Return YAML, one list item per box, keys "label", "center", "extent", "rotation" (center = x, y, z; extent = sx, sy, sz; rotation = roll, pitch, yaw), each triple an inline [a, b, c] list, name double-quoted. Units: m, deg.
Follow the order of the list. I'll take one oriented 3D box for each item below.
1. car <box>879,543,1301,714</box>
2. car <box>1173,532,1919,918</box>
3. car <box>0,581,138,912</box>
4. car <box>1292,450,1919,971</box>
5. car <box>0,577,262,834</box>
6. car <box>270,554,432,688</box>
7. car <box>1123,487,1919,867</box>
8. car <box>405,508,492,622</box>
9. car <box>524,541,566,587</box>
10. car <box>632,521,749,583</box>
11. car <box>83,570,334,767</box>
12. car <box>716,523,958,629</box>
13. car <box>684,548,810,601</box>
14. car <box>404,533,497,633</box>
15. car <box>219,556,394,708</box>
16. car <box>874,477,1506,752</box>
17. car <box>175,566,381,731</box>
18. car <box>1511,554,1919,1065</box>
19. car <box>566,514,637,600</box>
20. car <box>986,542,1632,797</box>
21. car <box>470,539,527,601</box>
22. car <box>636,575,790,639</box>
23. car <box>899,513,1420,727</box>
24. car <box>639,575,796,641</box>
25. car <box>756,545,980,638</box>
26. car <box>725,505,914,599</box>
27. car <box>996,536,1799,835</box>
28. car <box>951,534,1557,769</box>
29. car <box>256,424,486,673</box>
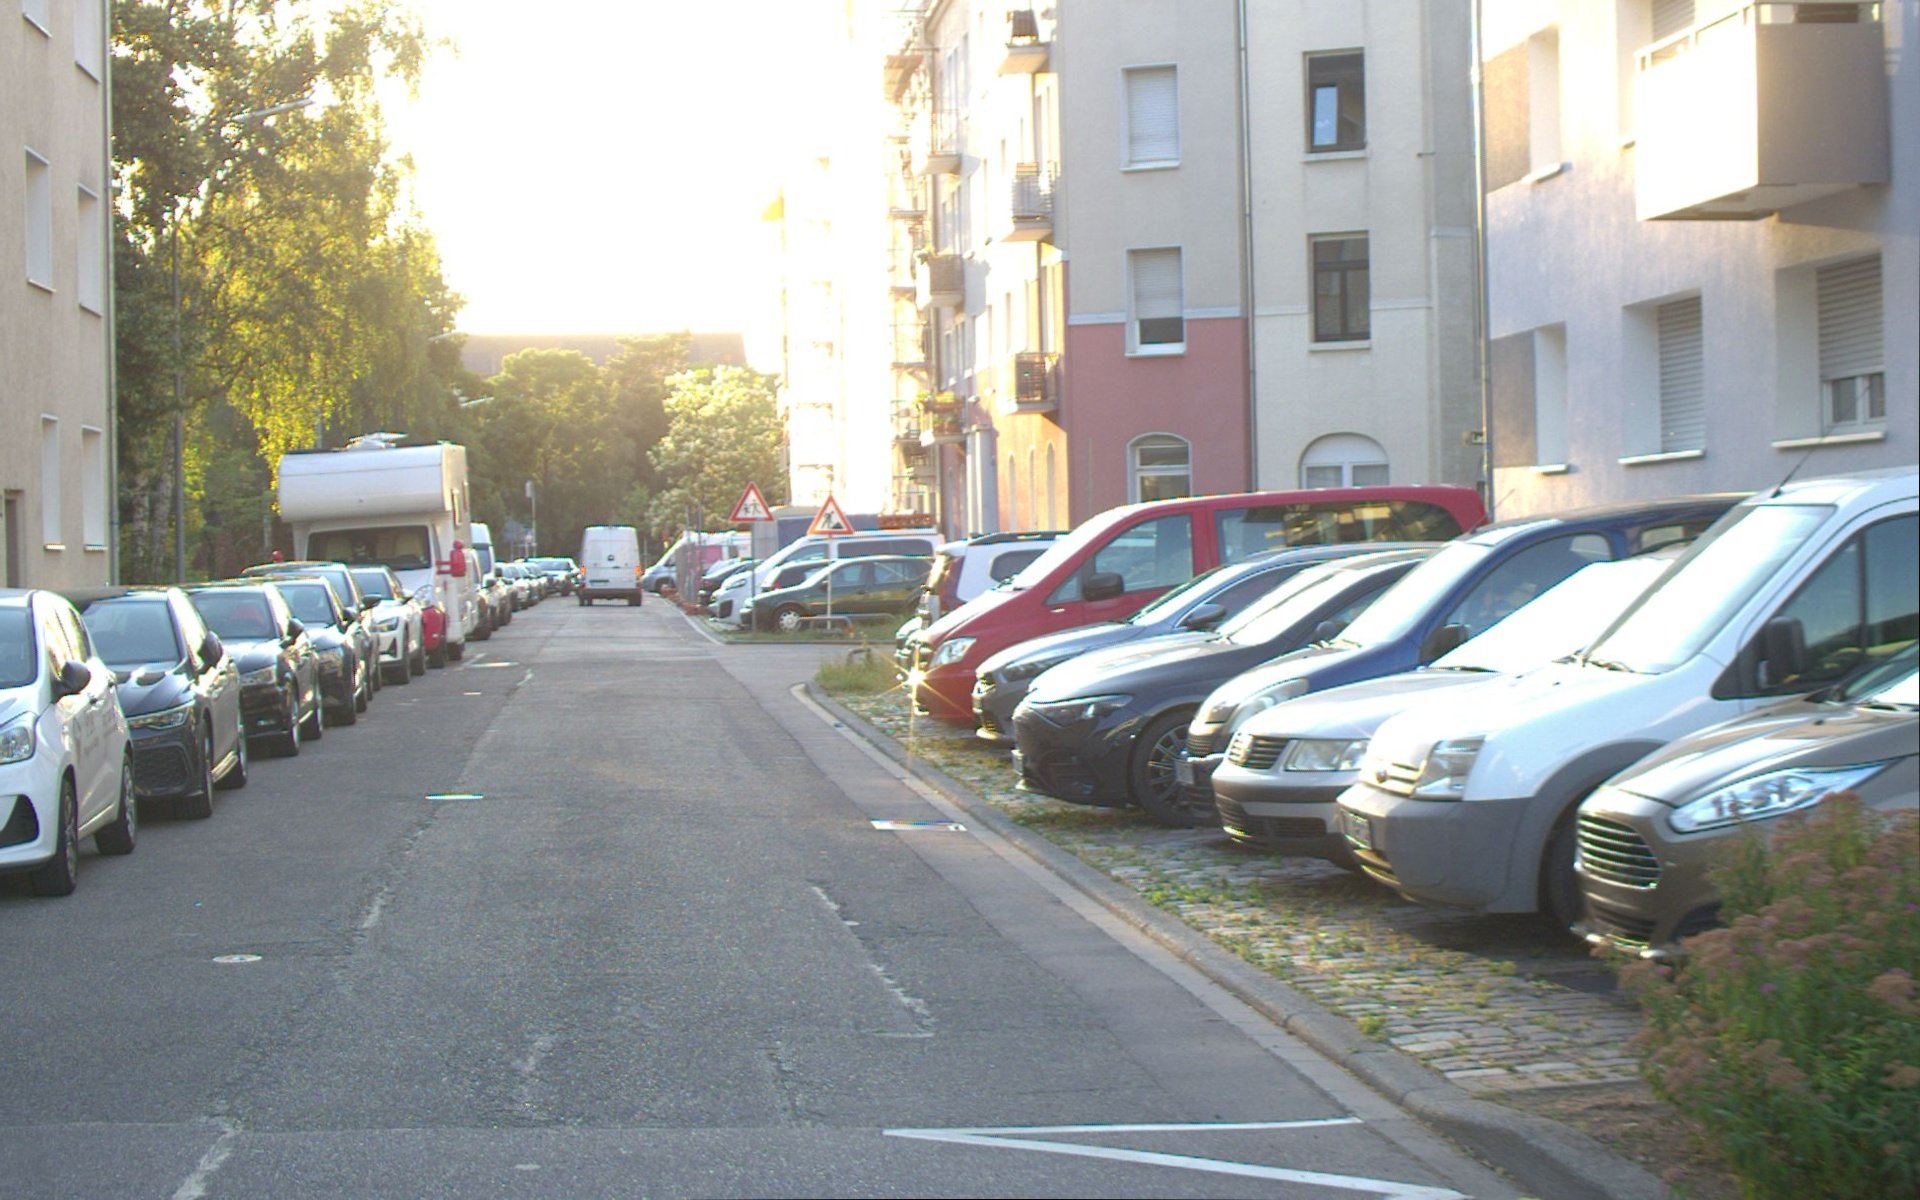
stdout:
- label: "car"
  center: [1.219, 0.259, 33.222]
  extent: [3.811, 1.423, 1.635]
  rotation: [-3, 1, -6]
- label: "car"
  center: [3.067, 0.498, 15.420]
  extent: [3.954, 1.517, 1.706]
  rotation: [-2, 1, -5]
- label: "car"
  center: [-5.183, 0.688, 17.294]
  extent: [1.615, 1.468, 3.506]
  rotation: [-3, 1, -7]
- label: "car"
  center: [3.601, 0.368, 13.513]
  extent: [4.279, 1.854, 1.742]
  rotation: [-1, 0, -5]
- label: "car"
  center: [-5.560, 0.620, 22.352]
  extent: [1.659, 1.430, 4.032]
  rotation: [-3, 1, -7]
- label: "car"
  center: [-7.641, 0.224, 43.397]
  extent: [1.652, 1.536, 3.877]
  rotation: [-3, 1, -6]
- label: "car"
  center: [2.883, 0.365, 17.870]
  extent: [3.790, 1.689, 1.655]
  rotation: [-3, 1, -5]
- label: "car"
  center: [-11.624, -0.804, 78.373]
  extent: [1.769, 2.437, 5.146]
  rotation: [-3, 1, -7]
- label: "car"
  center: [-17.338, -1.518, 143.565]
  extent: [1.652, 1.824, 3.877]
  rotation: [-3, 1, -7]
- label: "car"
  center: [-11.489, -2.056, 146.361]
  extent: [4.812, 2.399, 1.739]
  rotation: [-3, 1, -6]
- label: "car"
  center: [-6.172, 0.513, 28.572]
  extent: [1.652, 1.430, 3.797]
  rotation: [-3, 1, -7]
- label: "car"
  center: [-2.557, -0.507, 70.976]
  extent: [4.812, 1.961, 1.739]
  rotation: [-3, 1, -6]
- label: "car"
  center: [-6.993, -0.845, 112.617]
  extent: [3.986, 1.525, 1.659]
  rotation: [-3, 1, -6]
- label: "car"
  center: [-9.964, -0.349, 67.480]
  extent: [1.652, 1.824, 3.877]
  rotation: [-3, 1, -7]
- label: "car"
  center: [-7.366, 0.318, 39.035]
  extent: [1.652, 1.559, 3.877]
  rotation: [-3, 1, -7]
- label: "car"
  center: [1.790, 0.096, 27.789]
  extent: [4.721, 1.903, 2.059]
  rotation: [-3, 1, -6]
- label: "car"
  center: [-6.611, 0.425, 33.625]
  extent: [1.652, 1.430, 3.877]
  rotation: [-3, 1, -7]
- label: "car"
  center: [3.935, 0.583, 11.247]
  extent: [3.871, 1.487, 1.742]
  rotation: [-1, 1, -5]
- label: "car"
  center: [-11.981, -1.435, 114.628]
  extent: [2.128, 2.708, 4.834]
  rotation: [-3, 1, -7]
- label: "car"
  center: [2.237, 0.424, 22.542]
  extent: [3.874, 1.411, 1.637]
  rotation: [-3, 1, -7]
- label: "car"
  center: [-14.395, -0.933, 107.381]
  extent: [1.652, 1.824, 3.877]
  rotation: [-3, 1, -7]
- label: "car"
  center: [-6.644, 0.181, 92.247]
  extent: [3.986, 1.525, 1.659]
  rotation: [-3, 1, -6]
- label: "car"
  center: [1.732, 0.159, 30.702]
  extent: [4.323, 1.632, 1.818]
  rotation: [-3, 1, -6]
- label: "car"
  center: [-6.375, 0.205, 90.211]
  extent: [3.986, 1.525, 1.659]
  rotation: [-3, 1, -6]
- label: "car"
  center: [-1.738, -0.171, 63.977]
  extent: [3.986, 1.525, 1.659]
  rotation: [-3, 1, -6]
- label: "car"
  center: [-3.172, -1.086, 77.177]
  extent: [3.986, 2.007, 2.001]
  rotation: [-1, 1, -9]
- label: "car"
  center: [2.472, 0.462, 19.988]
  extent: [4.308, 1.444, 1.655]
  rotation: [-3, 1, -5]
- label: "car"
  center: [2.112, 0.355, 25.321]
  extent: [4.144, 1.466, 1.637]
  rotation: [-3, 1, -6]
- label: "car"
  center: [-8.526, -0.764, 50.555]
  extent: [2.619, 3.257, 7.698]
  rotation: [-3, 1, -5]
